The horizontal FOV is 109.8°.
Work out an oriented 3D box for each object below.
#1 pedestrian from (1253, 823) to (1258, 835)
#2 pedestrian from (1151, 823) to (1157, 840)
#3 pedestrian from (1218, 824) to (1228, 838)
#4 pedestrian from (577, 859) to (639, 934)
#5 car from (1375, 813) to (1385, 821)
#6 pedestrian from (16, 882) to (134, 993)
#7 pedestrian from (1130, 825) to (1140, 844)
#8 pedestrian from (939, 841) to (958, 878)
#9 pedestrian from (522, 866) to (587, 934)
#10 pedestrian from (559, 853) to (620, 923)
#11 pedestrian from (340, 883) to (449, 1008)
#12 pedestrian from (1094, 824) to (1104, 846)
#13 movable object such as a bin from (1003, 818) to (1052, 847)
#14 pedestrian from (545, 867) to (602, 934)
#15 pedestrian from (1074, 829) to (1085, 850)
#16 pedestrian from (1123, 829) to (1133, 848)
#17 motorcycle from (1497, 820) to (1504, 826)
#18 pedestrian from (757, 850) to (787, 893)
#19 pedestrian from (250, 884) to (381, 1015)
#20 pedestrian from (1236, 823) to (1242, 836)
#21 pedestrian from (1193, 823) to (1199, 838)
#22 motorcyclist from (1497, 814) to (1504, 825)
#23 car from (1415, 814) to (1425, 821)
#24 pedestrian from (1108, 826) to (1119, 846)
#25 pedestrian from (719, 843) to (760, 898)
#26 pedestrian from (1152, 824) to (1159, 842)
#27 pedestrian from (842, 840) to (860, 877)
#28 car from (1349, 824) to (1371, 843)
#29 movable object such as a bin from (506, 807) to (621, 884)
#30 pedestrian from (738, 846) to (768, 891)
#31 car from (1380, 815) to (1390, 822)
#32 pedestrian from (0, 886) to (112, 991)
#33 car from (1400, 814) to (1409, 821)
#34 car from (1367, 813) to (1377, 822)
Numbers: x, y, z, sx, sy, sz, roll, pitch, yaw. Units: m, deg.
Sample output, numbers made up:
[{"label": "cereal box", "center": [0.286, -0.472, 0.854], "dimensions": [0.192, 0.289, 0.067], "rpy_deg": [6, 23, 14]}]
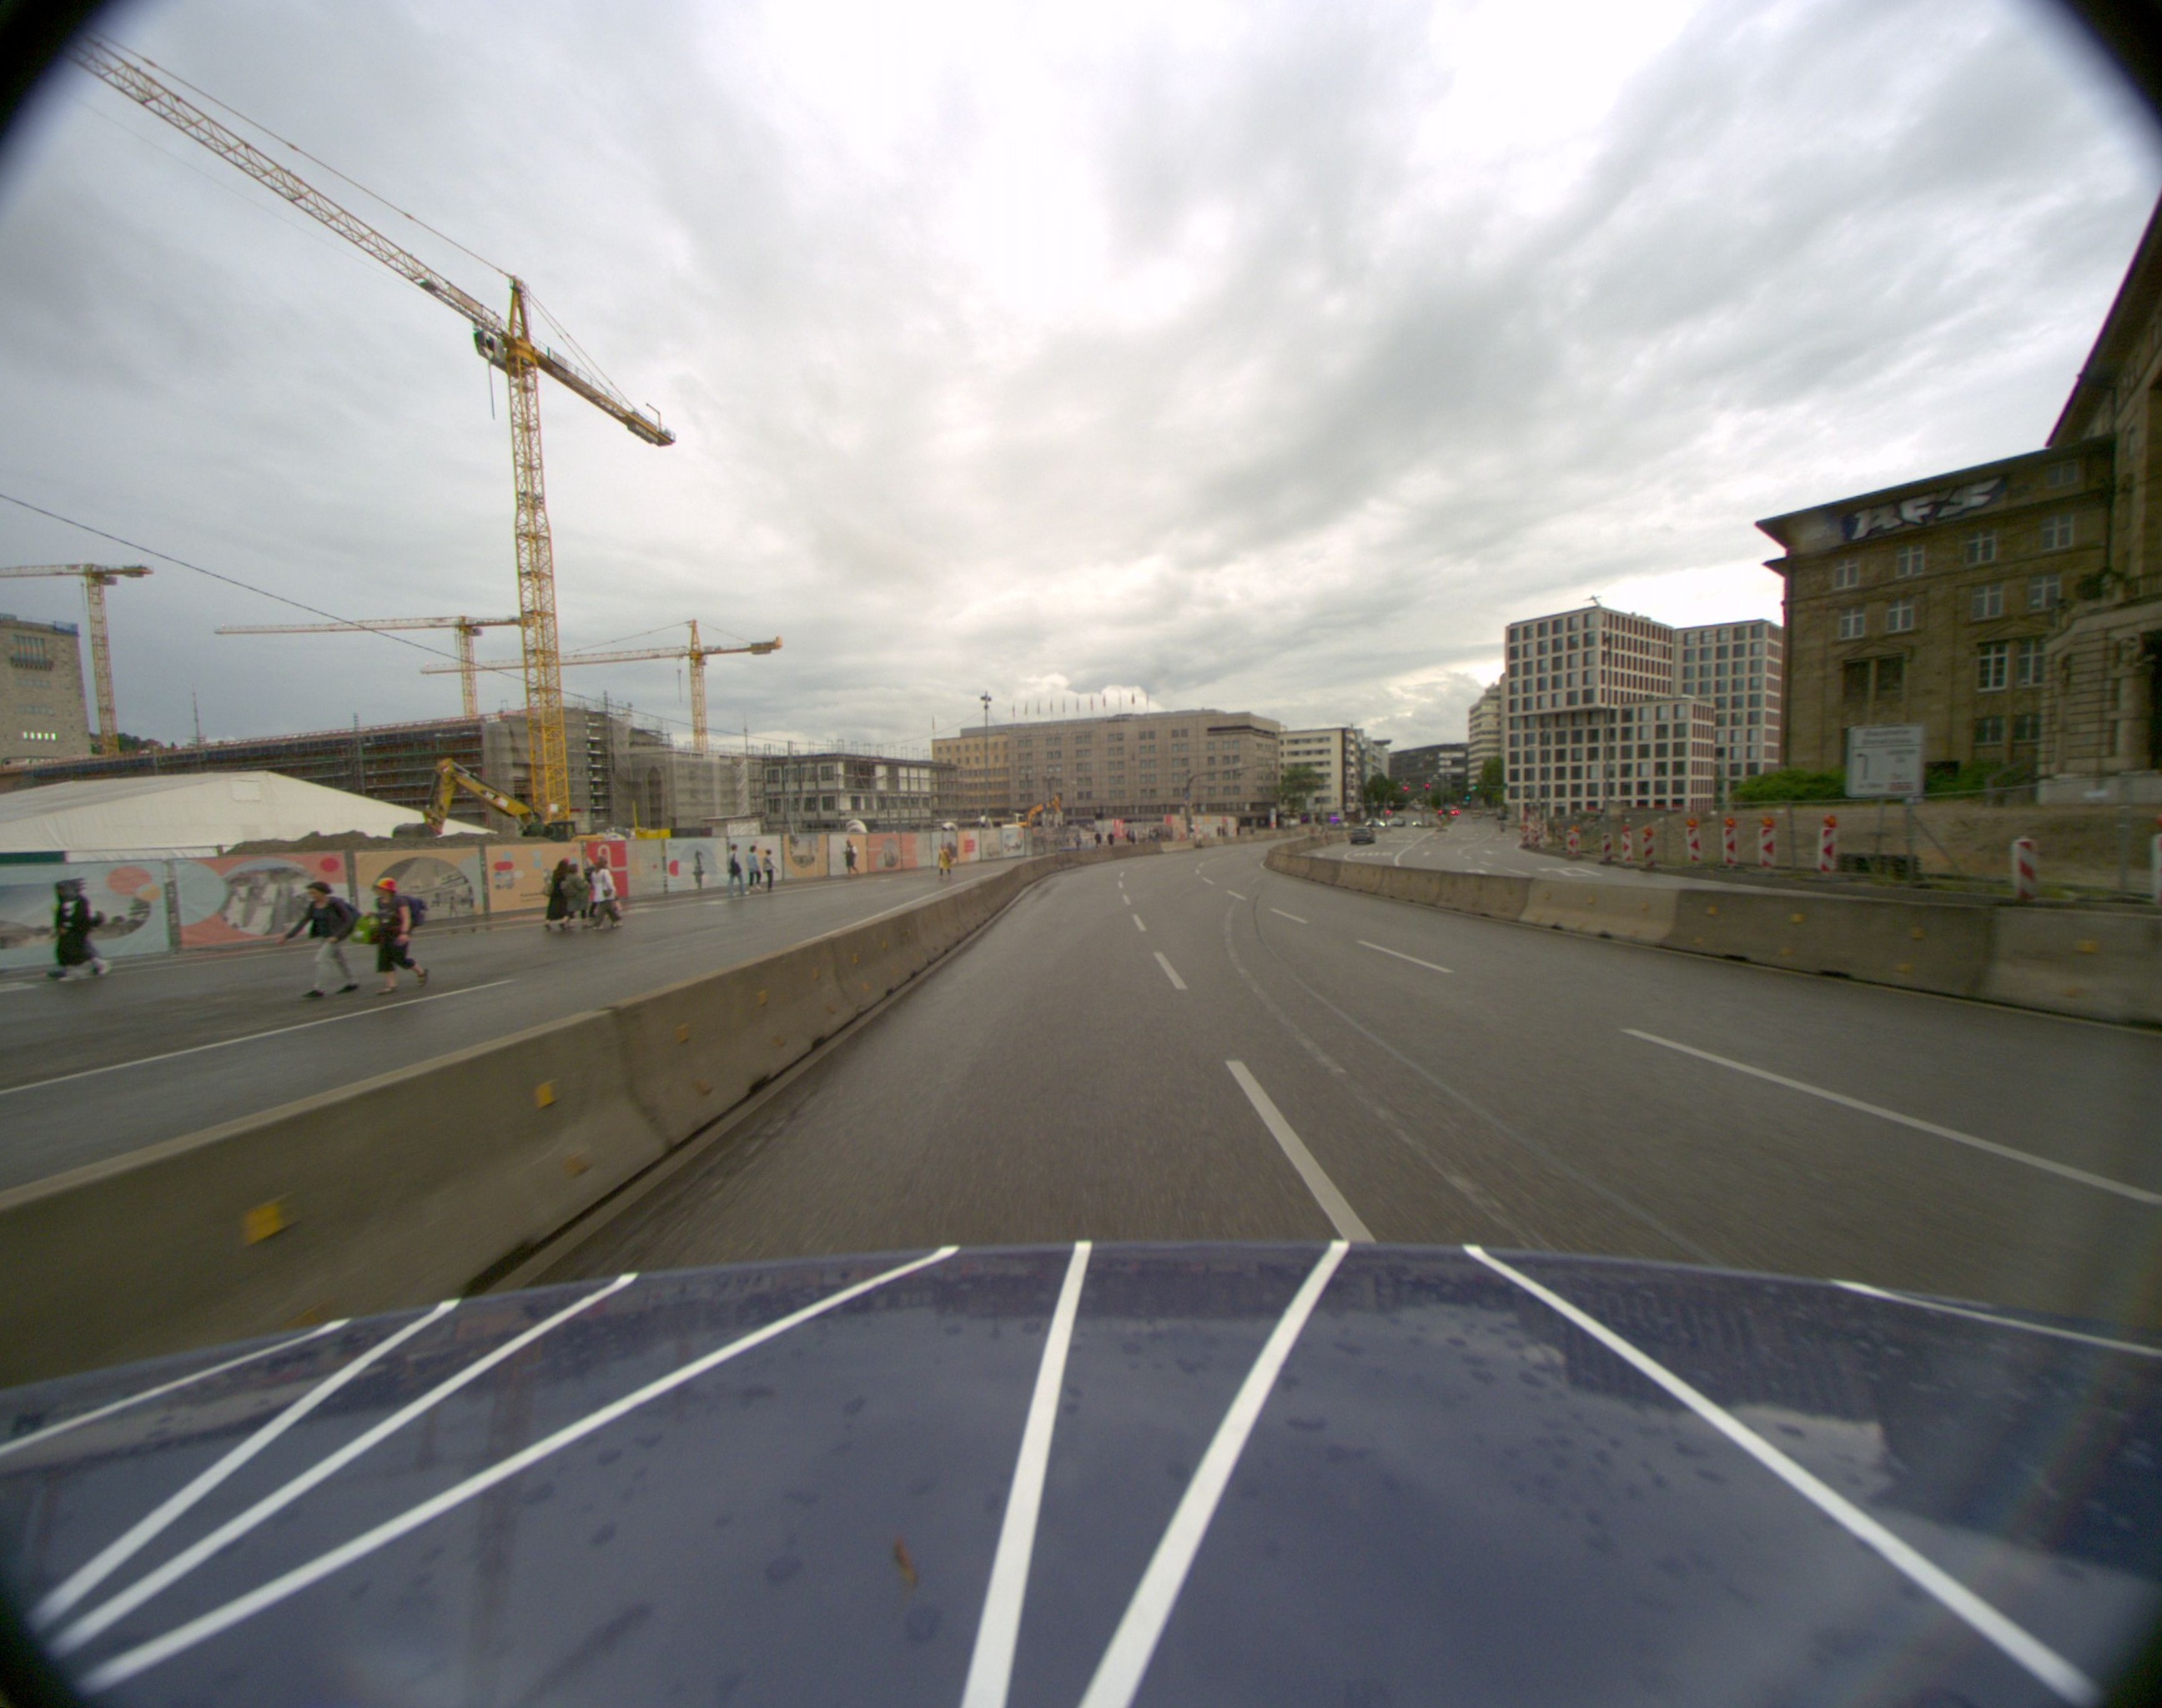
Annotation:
[{"label": "pedestrian", "center": [25.127, -3.631, 109.194], "dimensions": [0.653, 1.752, 0.549], "rpy_deg": [1, 4, 12]}, {"label": "pedestrian", "center": [7.101, -2.207, 73.894], "dimensions": [0.585, 1.699, 0.677], "rpy_deg": [1, 4, 12]}, {"label": "pedestrian", "center": [18.753, -3.070, 100.338], "dimensions": [1.097, 1.752, 0.907], "rpy_deg": [2, 4, 28]}, {"label": "pedestrian", "center": [-11.452, 1.004, 18.402], "dimensions": [0.778, 1.713, 0.892], "rpy_deg": [0, 3, 20]}, {"label": "car", "center": [70.302, -8.684, 178.494], "dimensions": [1.995, 1.839, 4.004], "rpy_deg": [0, 3, 23]}, {"label": "pedestrian", "center": [-17.195, 1.388, 13.006], "dimensions": [0.866, 1.716, 1.010], "rpy_deg": [0, 4, 30]}, {"label": "pedestrian", "center": [4.740, -1.752, 67.056], "dimensions": [0.654, 1.682, 0.776], "rpy_deg": [2, 4, 25]}, {"label": "pedestrian", "center": [-6.033, 0.254, 34.635], "dimensions": [0.648, 1.624, 0.907], "rpy_deg": [-2, 3, 1]}, {"label": "pedestrian", "center": [-12.856, 1.106, 18.577], "dimensions": [0.715, 1.545, 1.009], "rpy_deg": [0, 3, 20]}, {"label": "pedestrian", "center": [-13.489, 0.917, 20.876], "dimensions": [0.867, 1.808, 1.009], "rpy_deg": [0, 3, 20]}, {"label": "pedestrian", "center": [-9.393, 1.221, 10.418], "dimensions": [0.732, 1.566, 0.806], "rpy_deg": [-2, 3, 28]}, {"label": "pedestrian", "center": [1.498, -1.580, 63.076], "dimensions": [0.648, 1.734, 0.766], "rpy_deg": [1, 4, 14]}, {"label": "movable object such as a bin", "center": [-5.025, -2.068, 71.567], "dimensions": [4.135, 2.522, 1.994], "rpy_deg": [-3, 4, -34]}, {"label": "pedestrian", "center": [-12.235, 1.098, 18.341], "dimensions": [0.609, 1.514, 0.886], "rpy_deg": [0, 3, 20]}, {"label": "pedestrian", "center": [-0.098, -1.173, 60.787], "dimensions": [0.745, 1.697, 0.687], "rpy_deg": [1, 4, 15]}, {"label": "pedestrian", "center": [4.318, -1.414, 69.453], "dimensions": [0.654, 1.682, 0.776], "rpy_deg": [2, 4, 25]}, {"label": "motorcycle", "center": [57.535, -4.257, 104.179], "dimensions": [0.703, 0.888, 1.825], "rpy_deg": [0, 3, 22]}, {"label": "pedestrian", "center": [-11.593, 0.634, 28.517], "dimensions": [0.647, 1.545, 0.767], "rpy_deg": [1, 4, 37]}, {"label": "pedestrian", "center": [-10.373, 1.252, 10.324], "dimensions": [0.861, 1.585, 0.954], "rpy_deg": [0, 4, 28]}, {"label": "pedestrian", "center": [21.489, -3.353, 103.034], "dimensions": [0.756, 1.752, 0.766], "rpy_deg": [1, 4, 12]}, {"label": "pedestrian", "center": [13.092, -2.698, 86.588], "dimensions": [0.648, 1.660, 0.766], "rpy_deg": [1, 4, 12]}, {"label": "motorcyclist", "center": [57.461, -4.724, 104.031], "dimensions": [0.703, 1.479, 0.964], "rpy_deg": [0, 3, 22]}, {"label": "car", "center": [74.021, -8.049, 165.880], "dimensions": [1.788, 1.445, 3.676], "rpy_deg": [0, 3, 23]}, {"label": "pedestrian", "center": [2.694, -1.504, 63.012], "dimensions": [0.648, 1.637, 0.948], "rpy_deg": [1, 4, 14]}, {"label": "pedestrian", "center": [-11.902, 0.572, 26.479], "dimensions": [0.818, 1.839, 0.933], "rpy_deg": [1, 4, 37]}, {"label": "pedestrian", "center": [7.582, -2.111, 76.941], "dimensions": [0.648, 1.752, 0.584], "rpy_deg": [1, 4, 12]}, {"label": "pedestrian", "center": [-10.944, 0.194, 36.157], "dimensions": [0.567, 1.739, 0.495], "rpy_deg": [0, 3, 19]}, {"label": "car", "center": [24.487, -1.817, 66.635], "dimensions": [1.768, 1.513, 4.391], "rpy_deg": [0, 3, 21]}, {"label": "movable object such as a bin", "center": [-24.113, -0.468, 35.651], "dimensions": [1.941, 3.391, 4.231], "rpy_deg": [-1, 3, 8]}, {"label": "pedestrian", "center": [-12.413, 0.547, 28.751], "dimensions": [0.647, 1.646, 0.767], "rpy_deg": [1, 4, 37]}, {"label": "car", "center": [67.602, -7.989, 168.827], "dimensions": [1.995, 1.445, 4.004], "rpy_deg": [0, 3, 23]}, {"label": "pedestrian", "center": [-18.136, 1.447, 13.436], "dimensions": [0.866, 1.680, 1.010], "rpy_deg": [0, 4, 30]}, {"label": "car", "center": [70.631, -7.973, 165.989], "dimensions": [1.706, 1.445, 3.800], "rpy_deg": [0, 3, 23]}, {"label": "car", "center": [65.697, -8.211, 171.238], "dimensions": [1.995, 1.814, 4.004], "rpy_deg": [0, 3, 23]}]
